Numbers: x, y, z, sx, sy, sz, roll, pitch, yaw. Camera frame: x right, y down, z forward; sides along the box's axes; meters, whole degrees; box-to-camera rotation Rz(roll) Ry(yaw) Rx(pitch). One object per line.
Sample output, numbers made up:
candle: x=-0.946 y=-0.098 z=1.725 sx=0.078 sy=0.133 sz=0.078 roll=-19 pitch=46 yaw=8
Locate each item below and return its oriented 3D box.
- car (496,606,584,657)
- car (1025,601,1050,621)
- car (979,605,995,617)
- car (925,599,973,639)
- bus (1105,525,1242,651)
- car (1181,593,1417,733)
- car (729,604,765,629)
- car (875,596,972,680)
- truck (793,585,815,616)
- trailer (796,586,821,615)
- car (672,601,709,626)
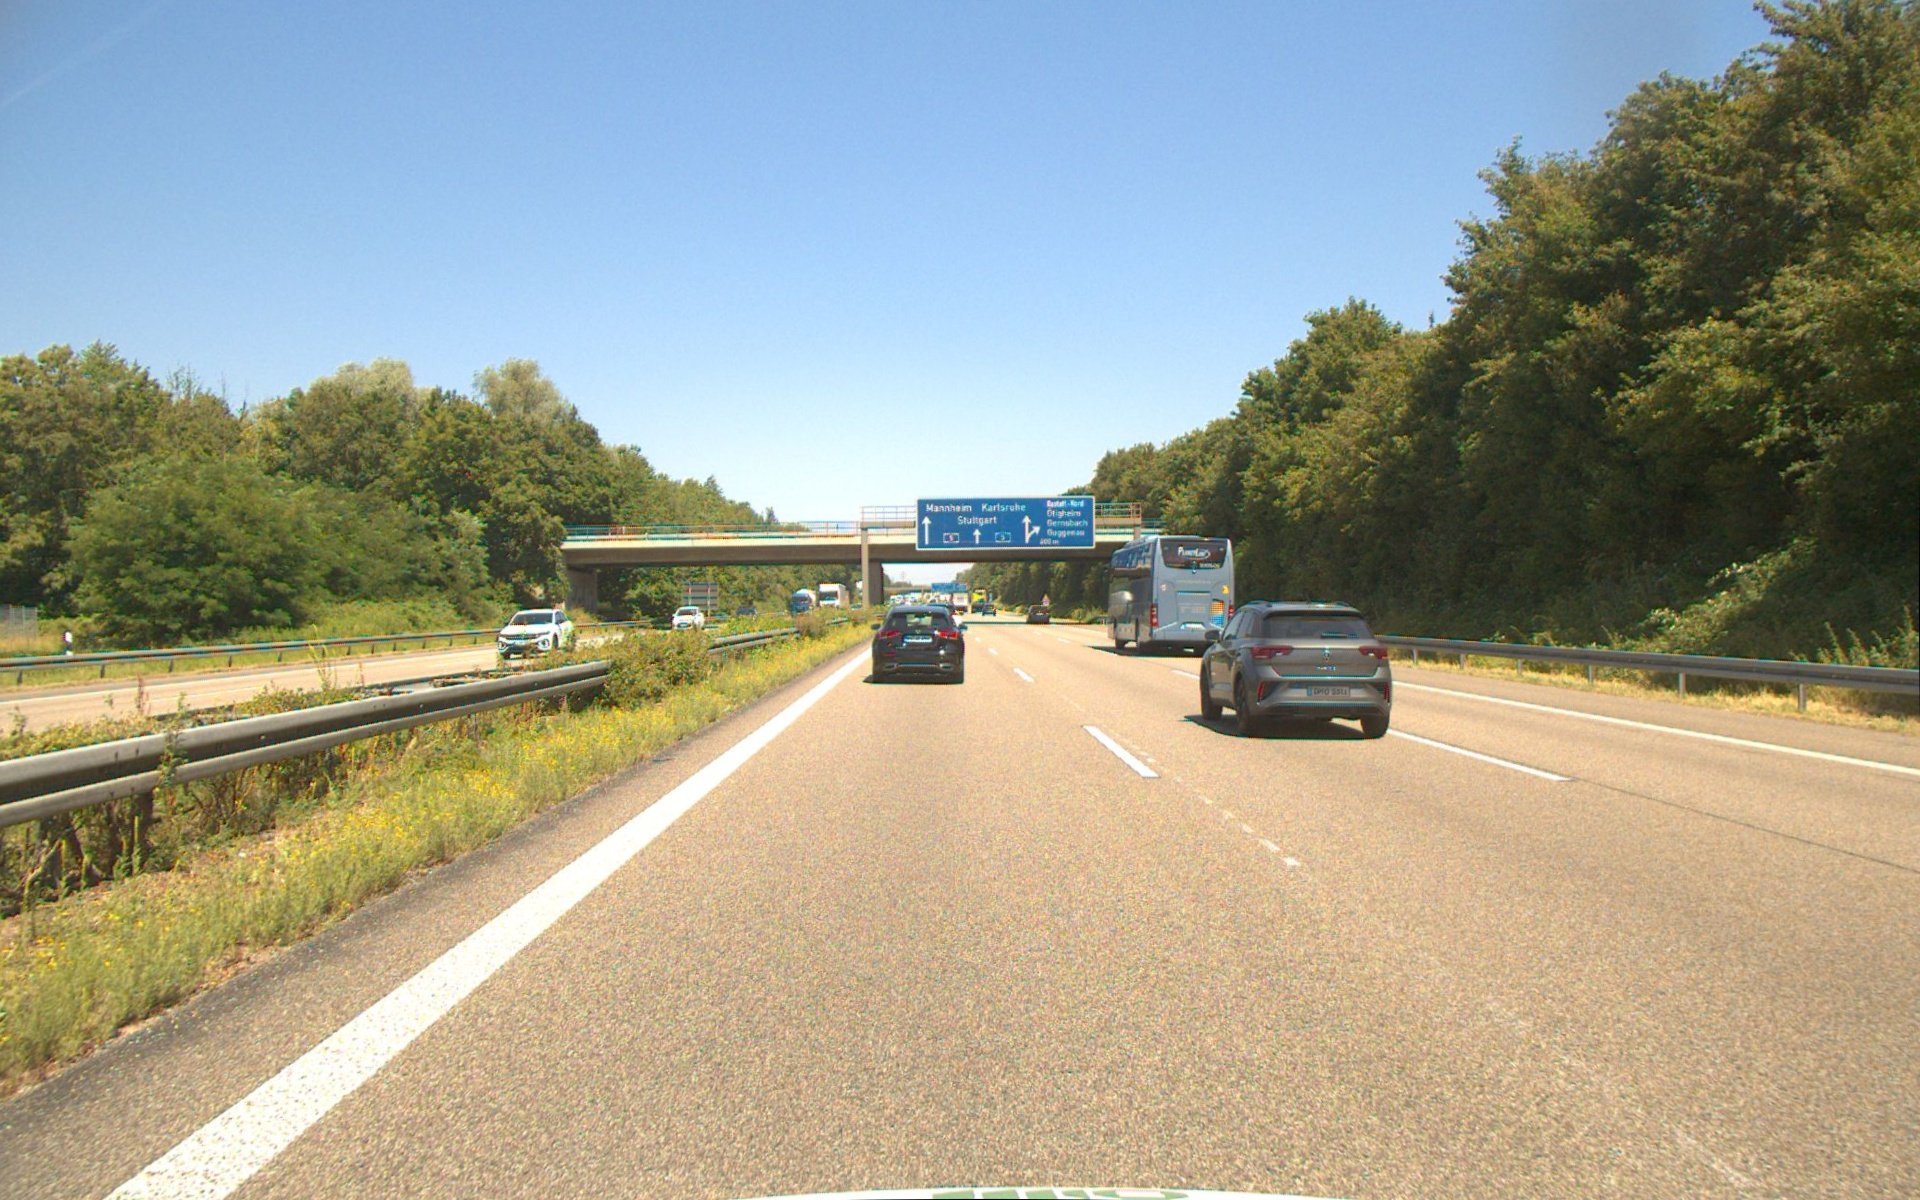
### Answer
car: x=-13.852 y=1.009 z=54.751 sx=1.771 sy=1.509 sz=4.416 roll=-3 pitch=0 yaw=-1
car: x=6.089 y=0.851 z=129.984 sx=1.753 sy=1.487 sz=3.949 roll=0 pitch=0 yaw=0
car: x=3.649 y=1.437 z=222.794 sx=2.038 sy=1.559 sz=4.241 roll=0 pitch=0 yaw=0
car: x=-0.469 y=0.744 z=67.843 sx=1.861 sy=1.559 sz=4.240 roll=0 pitch=0 yaw=-2
bus: x=6.738 y=-0.334 z=54.275 sx=2.745 sy=3.659 sz=12.472 roll=0 pitch=0 yaw=-1
car: x=4.121 y=0.709 z=20.915 sx=1.861 sy=1.559 sz=4.758 roll=0 pitch=0 yaw=-2
car: x=-14.736 y=1.153 z=114.614 sx=1.861 sy=1.559 sz=5.030 roll=-4 pitch=0 yaw=-2
car: x=-0.739 y=0.703 z=32.486 sx=1.763 sy=1.528 sz=4.240 roll=0 pitch=0 yaw=-2
truck: x=-20.496 y=0.065 z=217.648 sx=2.312 sy=3.841 sz=5.250 roll=-2 pitch=0 yaw=-1
trailer: x=-20.594 y=0.054 z=224.742 sx=2.311 sy=3.860 sz=12.072 roll=-2 pitch=0 yaw=-1
car: x=-18.262 y=0.919 z=112.272 sx=1.861 sy=1.621 sz=4.741 roll=-2 pitch=0 yaw=-2
